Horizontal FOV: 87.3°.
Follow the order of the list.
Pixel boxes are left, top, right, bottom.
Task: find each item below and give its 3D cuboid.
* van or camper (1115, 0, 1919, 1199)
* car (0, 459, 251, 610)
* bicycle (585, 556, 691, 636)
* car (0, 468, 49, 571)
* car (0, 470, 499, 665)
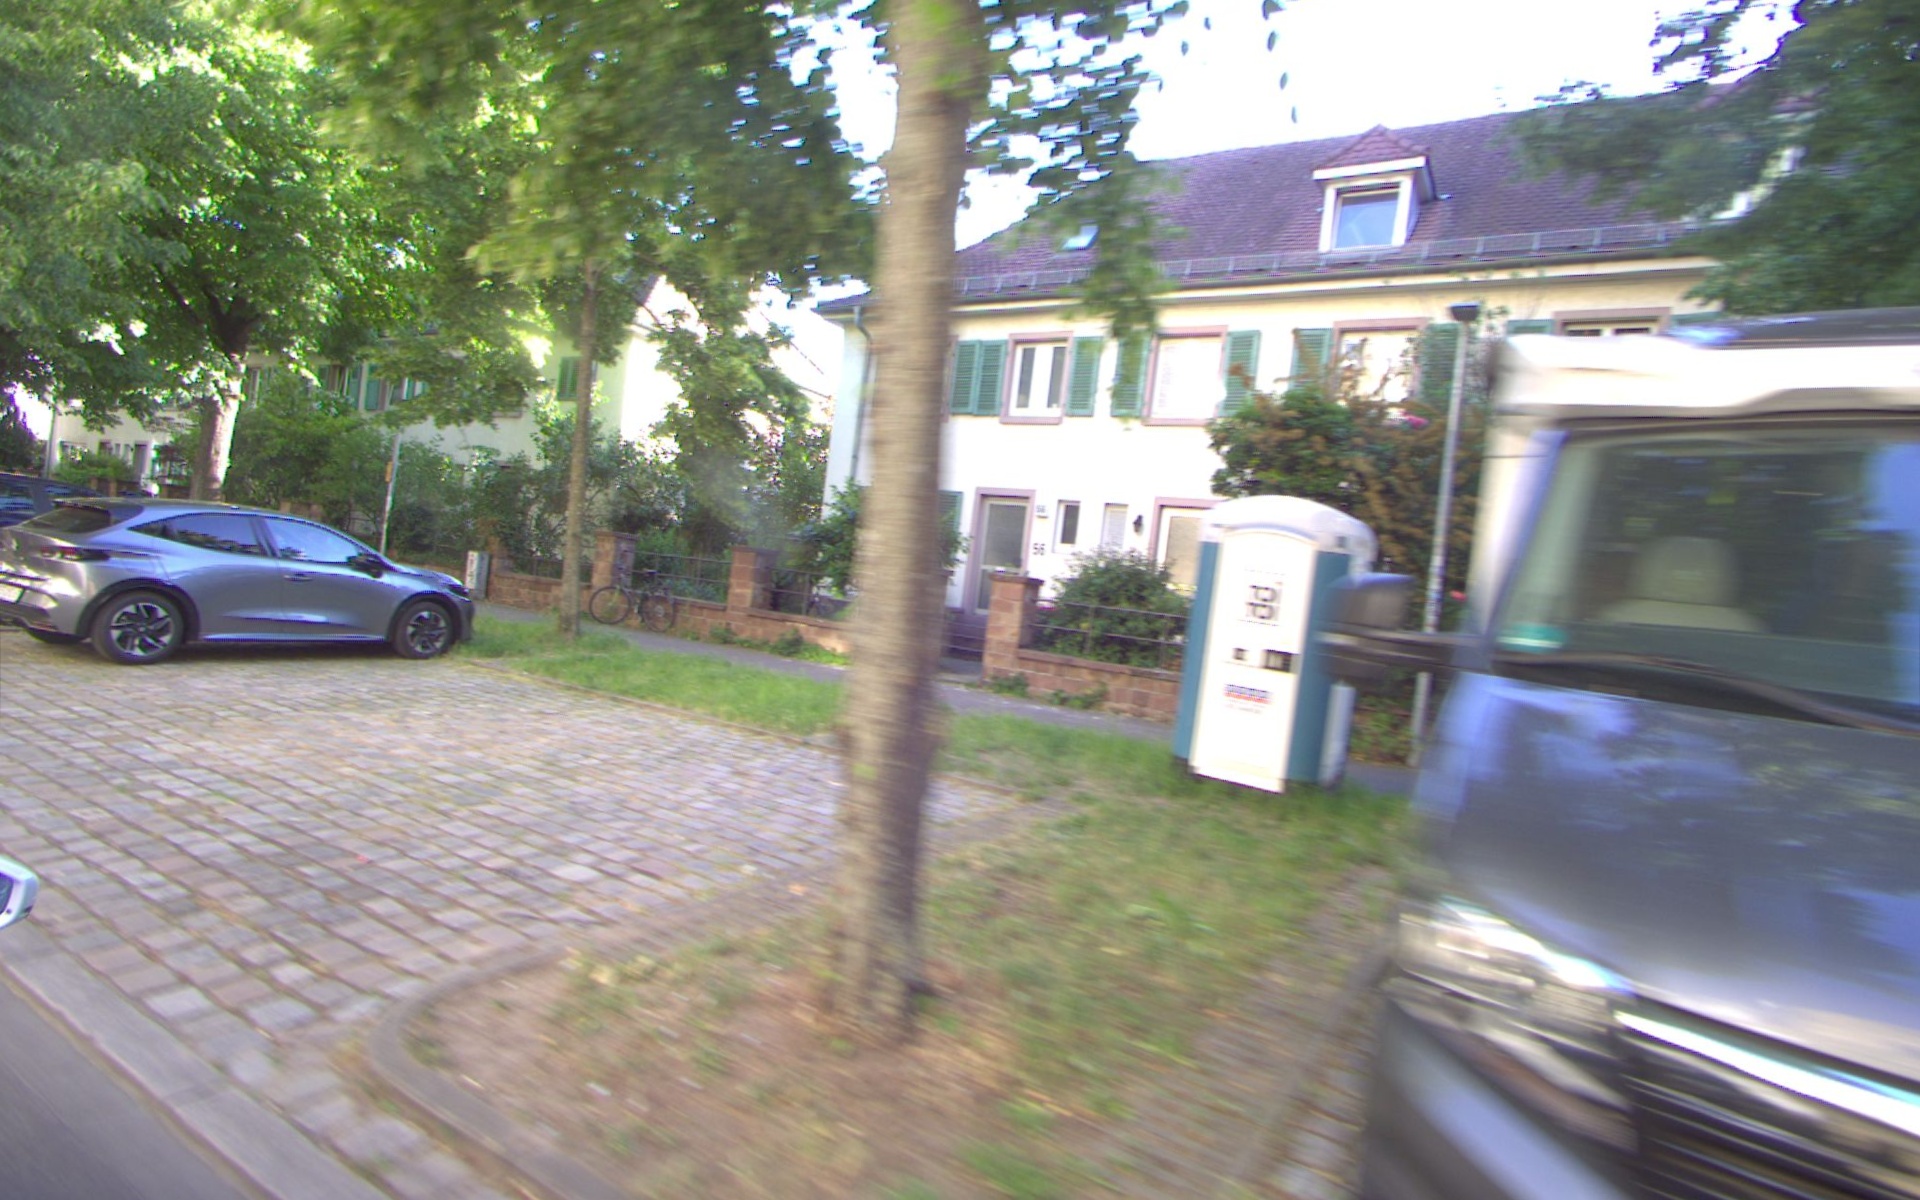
[{"bbox_3d":[3.323,0.443,4.146,2.424,2.683,7.142,7,3,33],"label":"van or camper"},{"bbox_3d":[-11.670,-0.855,12.556,1.664,1.619,4.225,5,-1,33],"label":"car"},{"bbox_3d":[-5.310,-0.071,16.566,1.789,1.143,0.564,6,2,32],"label":"bicycle"},{"bbox_3d":[-17.000,-1.459,15.688,1.664,1.619,3.775,5,-1,33],"label":"car"},{"bbox_3d":[-6.981,-0.205,10.049,1.661,1.472,4.040,7,0,28],"label":"car"}]
